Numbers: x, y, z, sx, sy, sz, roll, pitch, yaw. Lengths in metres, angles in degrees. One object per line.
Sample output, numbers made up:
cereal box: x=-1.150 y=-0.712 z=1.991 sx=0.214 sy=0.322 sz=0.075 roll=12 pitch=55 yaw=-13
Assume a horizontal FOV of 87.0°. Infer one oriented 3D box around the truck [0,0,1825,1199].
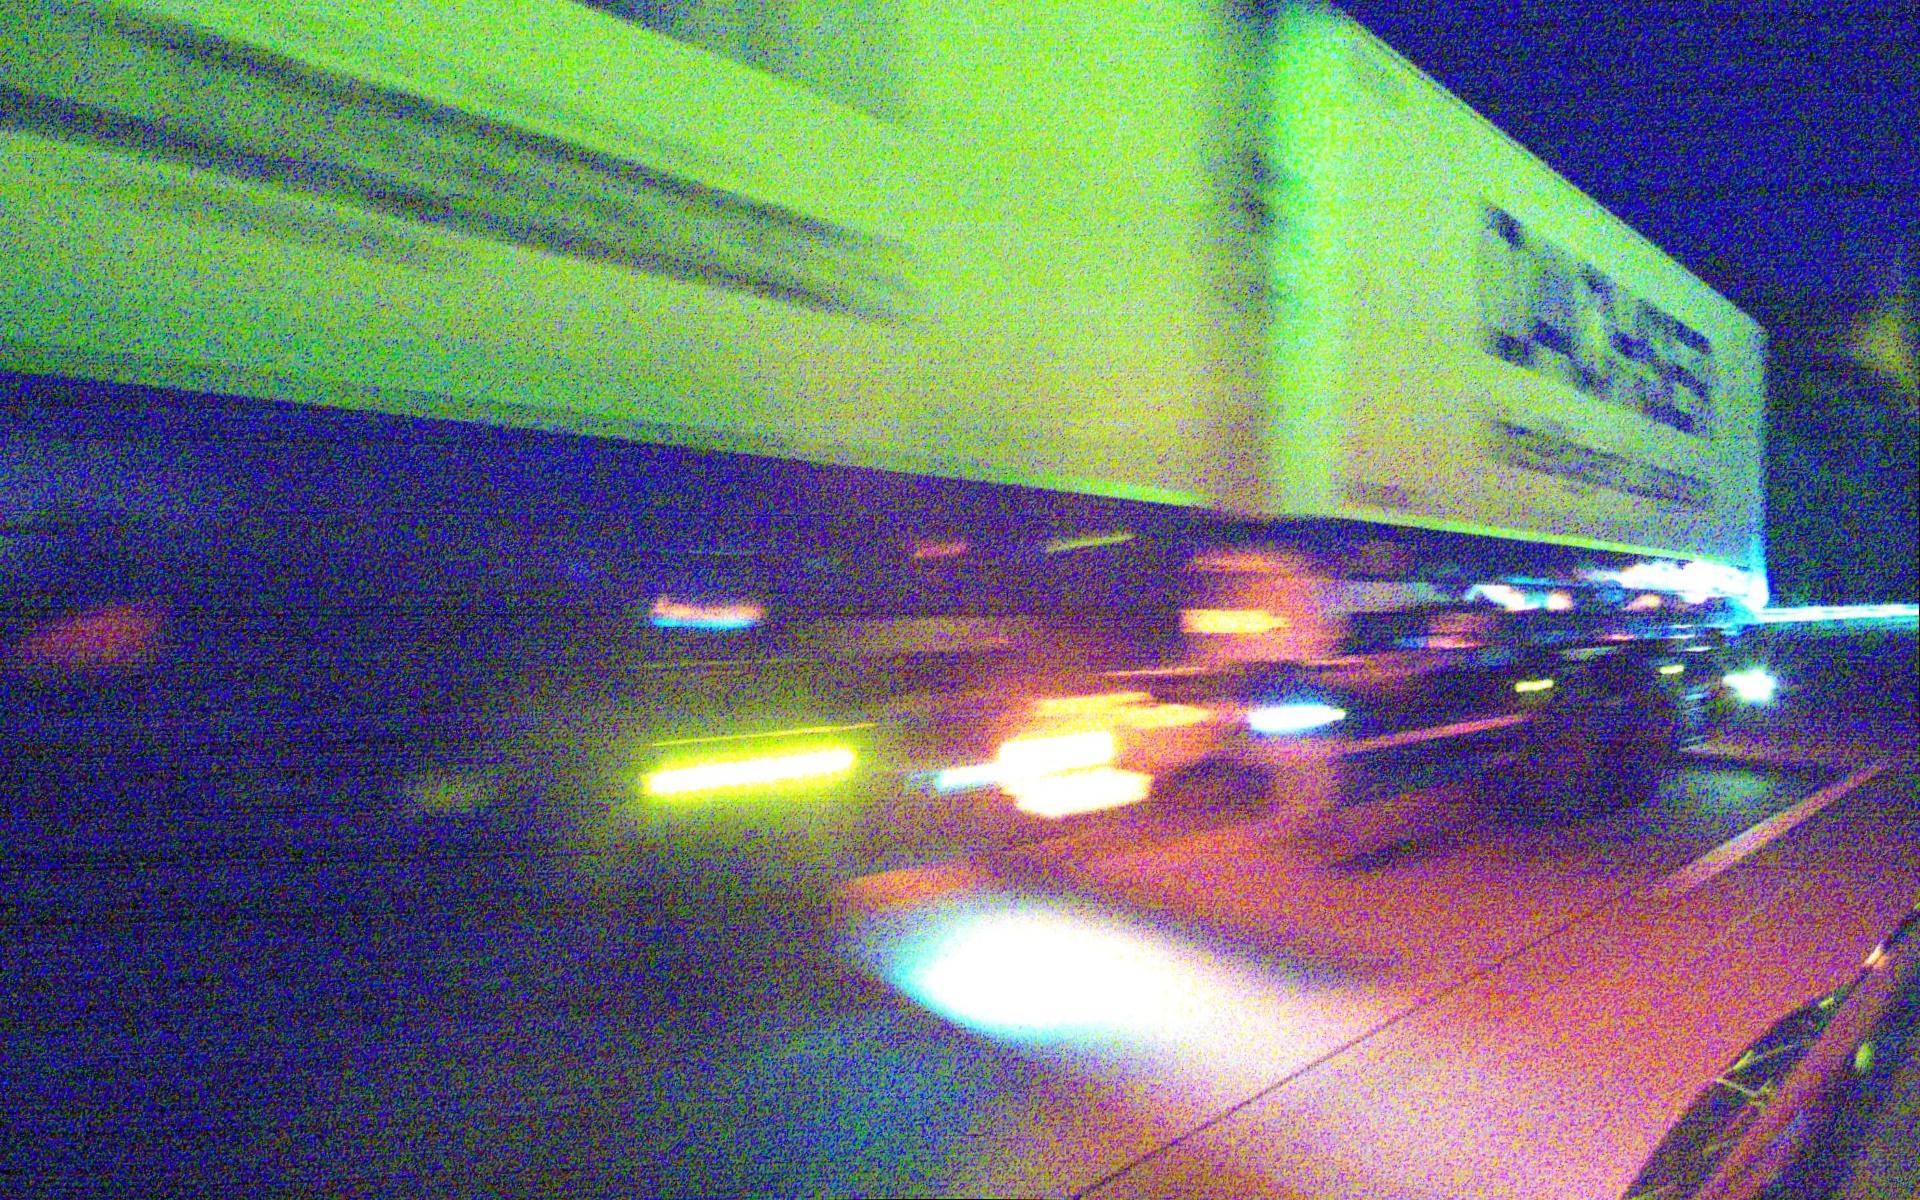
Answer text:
truck: x=-0.264 y=-0.837 z=4.562 sx=18.379 sy=4.187 sz=3.488 roll=0 pitch=-1 yaw=-41
